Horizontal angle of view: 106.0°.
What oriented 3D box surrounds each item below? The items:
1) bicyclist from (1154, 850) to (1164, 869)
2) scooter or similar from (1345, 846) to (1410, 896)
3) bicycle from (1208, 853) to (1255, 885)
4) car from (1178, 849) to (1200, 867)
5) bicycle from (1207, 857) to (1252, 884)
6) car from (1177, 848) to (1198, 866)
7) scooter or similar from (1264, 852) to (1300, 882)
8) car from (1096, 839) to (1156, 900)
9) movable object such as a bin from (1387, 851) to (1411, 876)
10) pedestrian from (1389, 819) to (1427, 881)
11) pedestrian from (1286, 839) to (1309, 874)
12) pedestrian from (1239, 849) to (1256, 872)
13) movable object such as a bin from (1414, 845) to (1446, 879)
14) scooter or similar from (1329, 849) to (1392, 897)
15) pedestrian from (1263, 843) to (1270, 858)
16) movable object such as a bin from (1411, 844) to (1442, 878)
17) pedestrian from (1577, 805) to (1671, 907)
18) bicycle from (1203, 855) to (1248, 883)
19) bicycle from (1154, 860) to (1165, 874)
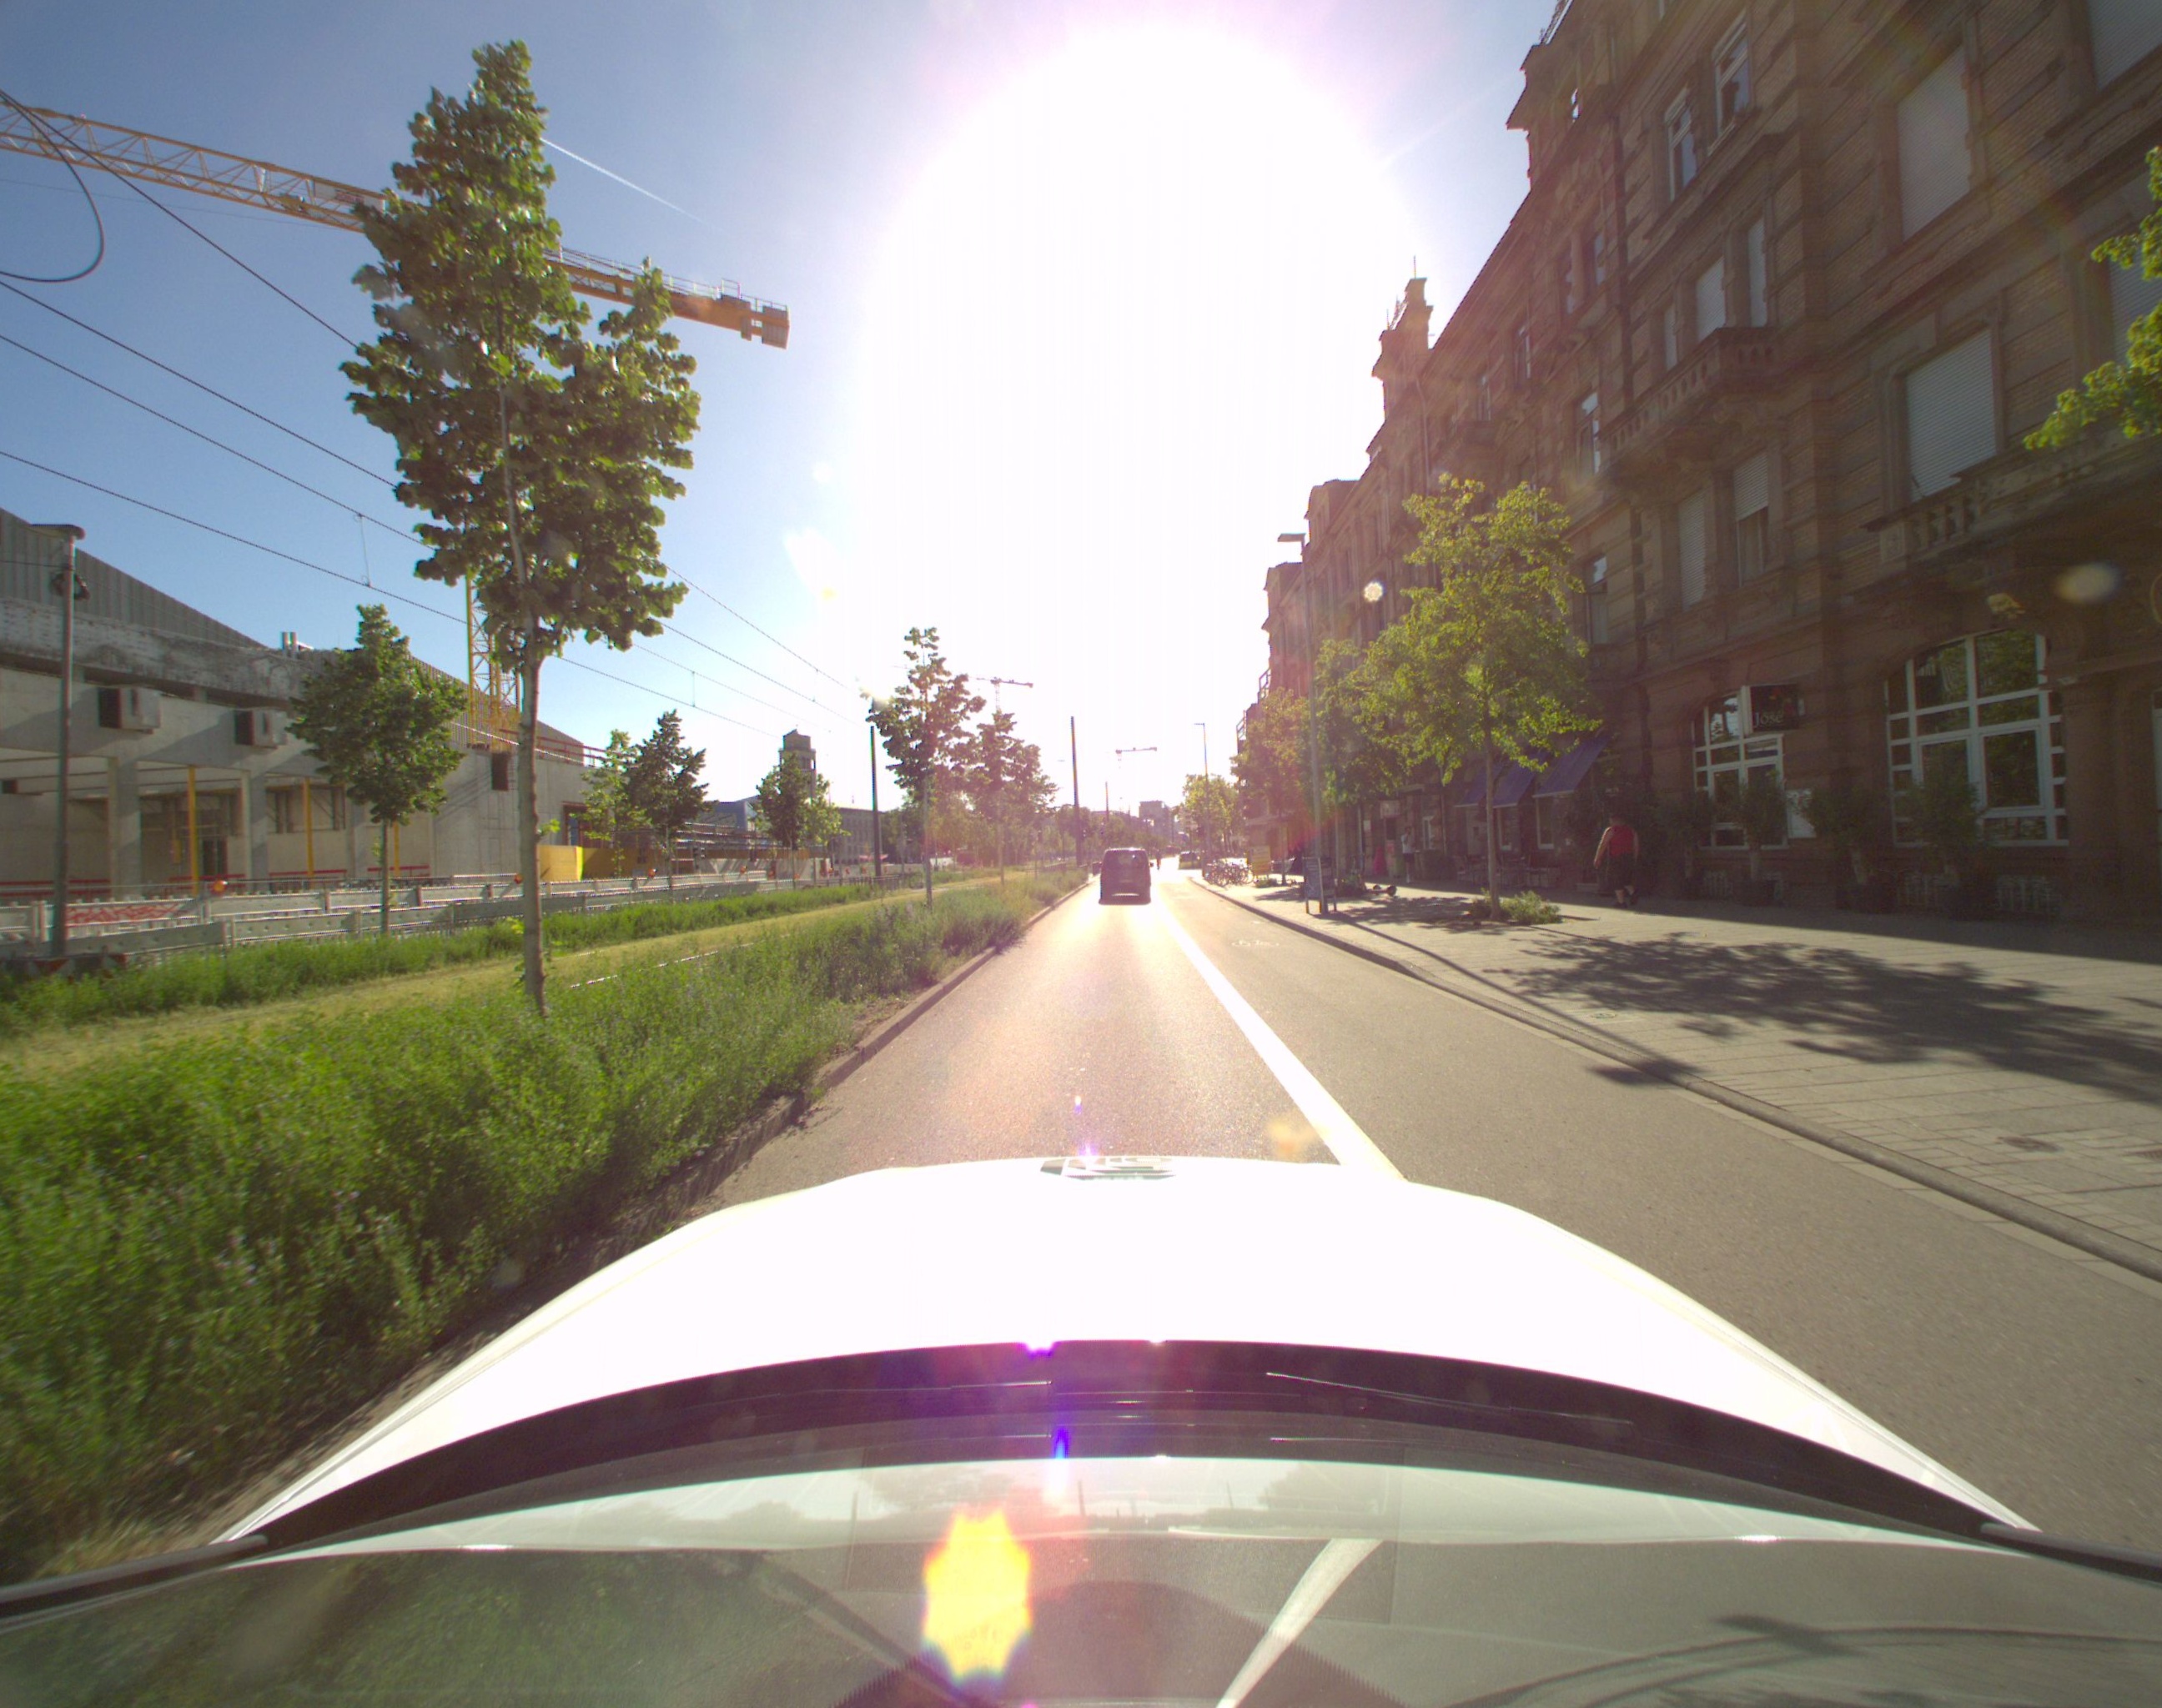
[{"bbox_3d":[6.622,0.453,69.201,0.680,1.584,0.840,-2,0,1],"label":"bicyclist"},{"bbox_3d":[7.991,0.452,21.999,1.470,1.216,0.601,-5,1,-3],"label":"scooter or similar"},{"bbox_3d":[6.593,0.662,35.627,1.875,1.233,0.499,-5,-1,-5],"label":"bicycle"},{"bbox_3d":[10.317,0.358,77.754,1.978,1.638,4.197,-2,-1,7],"label":"car"},{"bbox_3d":[6.776,0.741,37.159,1.821,1.078,0.664,-5,-1,-5],"label":"bicycle"},{"bbox_3d":[10.968,0.314,84.062,2.011,1.722,4.126,-2,-1,7],"label":"car"},{"bbox_3d":[8.083,0.518,32.745,1.214,1.106,0.784,-4,0,4],"label":"scooter or similar"},{"bbox_3d":[1.569,0.548,29.568,1.986,2.014,4.001,-1,-1,1],"label":"car"},{"bbox_3d":[11.946,0.363,30.588,0.603,0.916,0.650,-2,0,-3],"label":"movable object such as a bin"},{"bbox_3d":[10.917,-0.121,27.238,0.814,2.014,1.046,-1,-3,2],"label":"pedestrian"},{"bbox_3d":[11.192,0.137,42.124,0.841,1.742,0.887,-3,-1,2],"label":"pedestrian"},{"bbox_3d":[10.189,0.424,49.833,0.700,1.336,1.012,-6,-1,3],"label":"pedestrian"},{"bbox_3d":[11.688,0.253,27.294,0.723,1.098,0.747,-2,0,-3],"label":"movable object such as a bin"},{"bbox_3d":[7.807,0.516,22.765,1.473,1.216,0.600,-5,1,-9],"label":"scooter or similar"},{"bbox_3d":[21.642,-0.413,95.118,0.695,1.652,0.726,-2,0,10],"label":"pedestrian"},{"bbox_3d":[11.898,0.240,28.058,0.723,1.098,0.747,-2,0,-3],"label":"movable object such as a bin"},{"bbox_3d":[9.882,0.036,14.865,0.992,1.731,0.866,-5,-1,1],"label":"pedestrian"},{"bbox_3d":[6.838,0.705,38.675,1.912,1.121,0.664,-6,-1,-5],"label":"bicycle"},{"bbox_3d":[6.639,1.094,69.206,0.698,1.091,2.278,-2,0,1],"label":"bicycle"}]
